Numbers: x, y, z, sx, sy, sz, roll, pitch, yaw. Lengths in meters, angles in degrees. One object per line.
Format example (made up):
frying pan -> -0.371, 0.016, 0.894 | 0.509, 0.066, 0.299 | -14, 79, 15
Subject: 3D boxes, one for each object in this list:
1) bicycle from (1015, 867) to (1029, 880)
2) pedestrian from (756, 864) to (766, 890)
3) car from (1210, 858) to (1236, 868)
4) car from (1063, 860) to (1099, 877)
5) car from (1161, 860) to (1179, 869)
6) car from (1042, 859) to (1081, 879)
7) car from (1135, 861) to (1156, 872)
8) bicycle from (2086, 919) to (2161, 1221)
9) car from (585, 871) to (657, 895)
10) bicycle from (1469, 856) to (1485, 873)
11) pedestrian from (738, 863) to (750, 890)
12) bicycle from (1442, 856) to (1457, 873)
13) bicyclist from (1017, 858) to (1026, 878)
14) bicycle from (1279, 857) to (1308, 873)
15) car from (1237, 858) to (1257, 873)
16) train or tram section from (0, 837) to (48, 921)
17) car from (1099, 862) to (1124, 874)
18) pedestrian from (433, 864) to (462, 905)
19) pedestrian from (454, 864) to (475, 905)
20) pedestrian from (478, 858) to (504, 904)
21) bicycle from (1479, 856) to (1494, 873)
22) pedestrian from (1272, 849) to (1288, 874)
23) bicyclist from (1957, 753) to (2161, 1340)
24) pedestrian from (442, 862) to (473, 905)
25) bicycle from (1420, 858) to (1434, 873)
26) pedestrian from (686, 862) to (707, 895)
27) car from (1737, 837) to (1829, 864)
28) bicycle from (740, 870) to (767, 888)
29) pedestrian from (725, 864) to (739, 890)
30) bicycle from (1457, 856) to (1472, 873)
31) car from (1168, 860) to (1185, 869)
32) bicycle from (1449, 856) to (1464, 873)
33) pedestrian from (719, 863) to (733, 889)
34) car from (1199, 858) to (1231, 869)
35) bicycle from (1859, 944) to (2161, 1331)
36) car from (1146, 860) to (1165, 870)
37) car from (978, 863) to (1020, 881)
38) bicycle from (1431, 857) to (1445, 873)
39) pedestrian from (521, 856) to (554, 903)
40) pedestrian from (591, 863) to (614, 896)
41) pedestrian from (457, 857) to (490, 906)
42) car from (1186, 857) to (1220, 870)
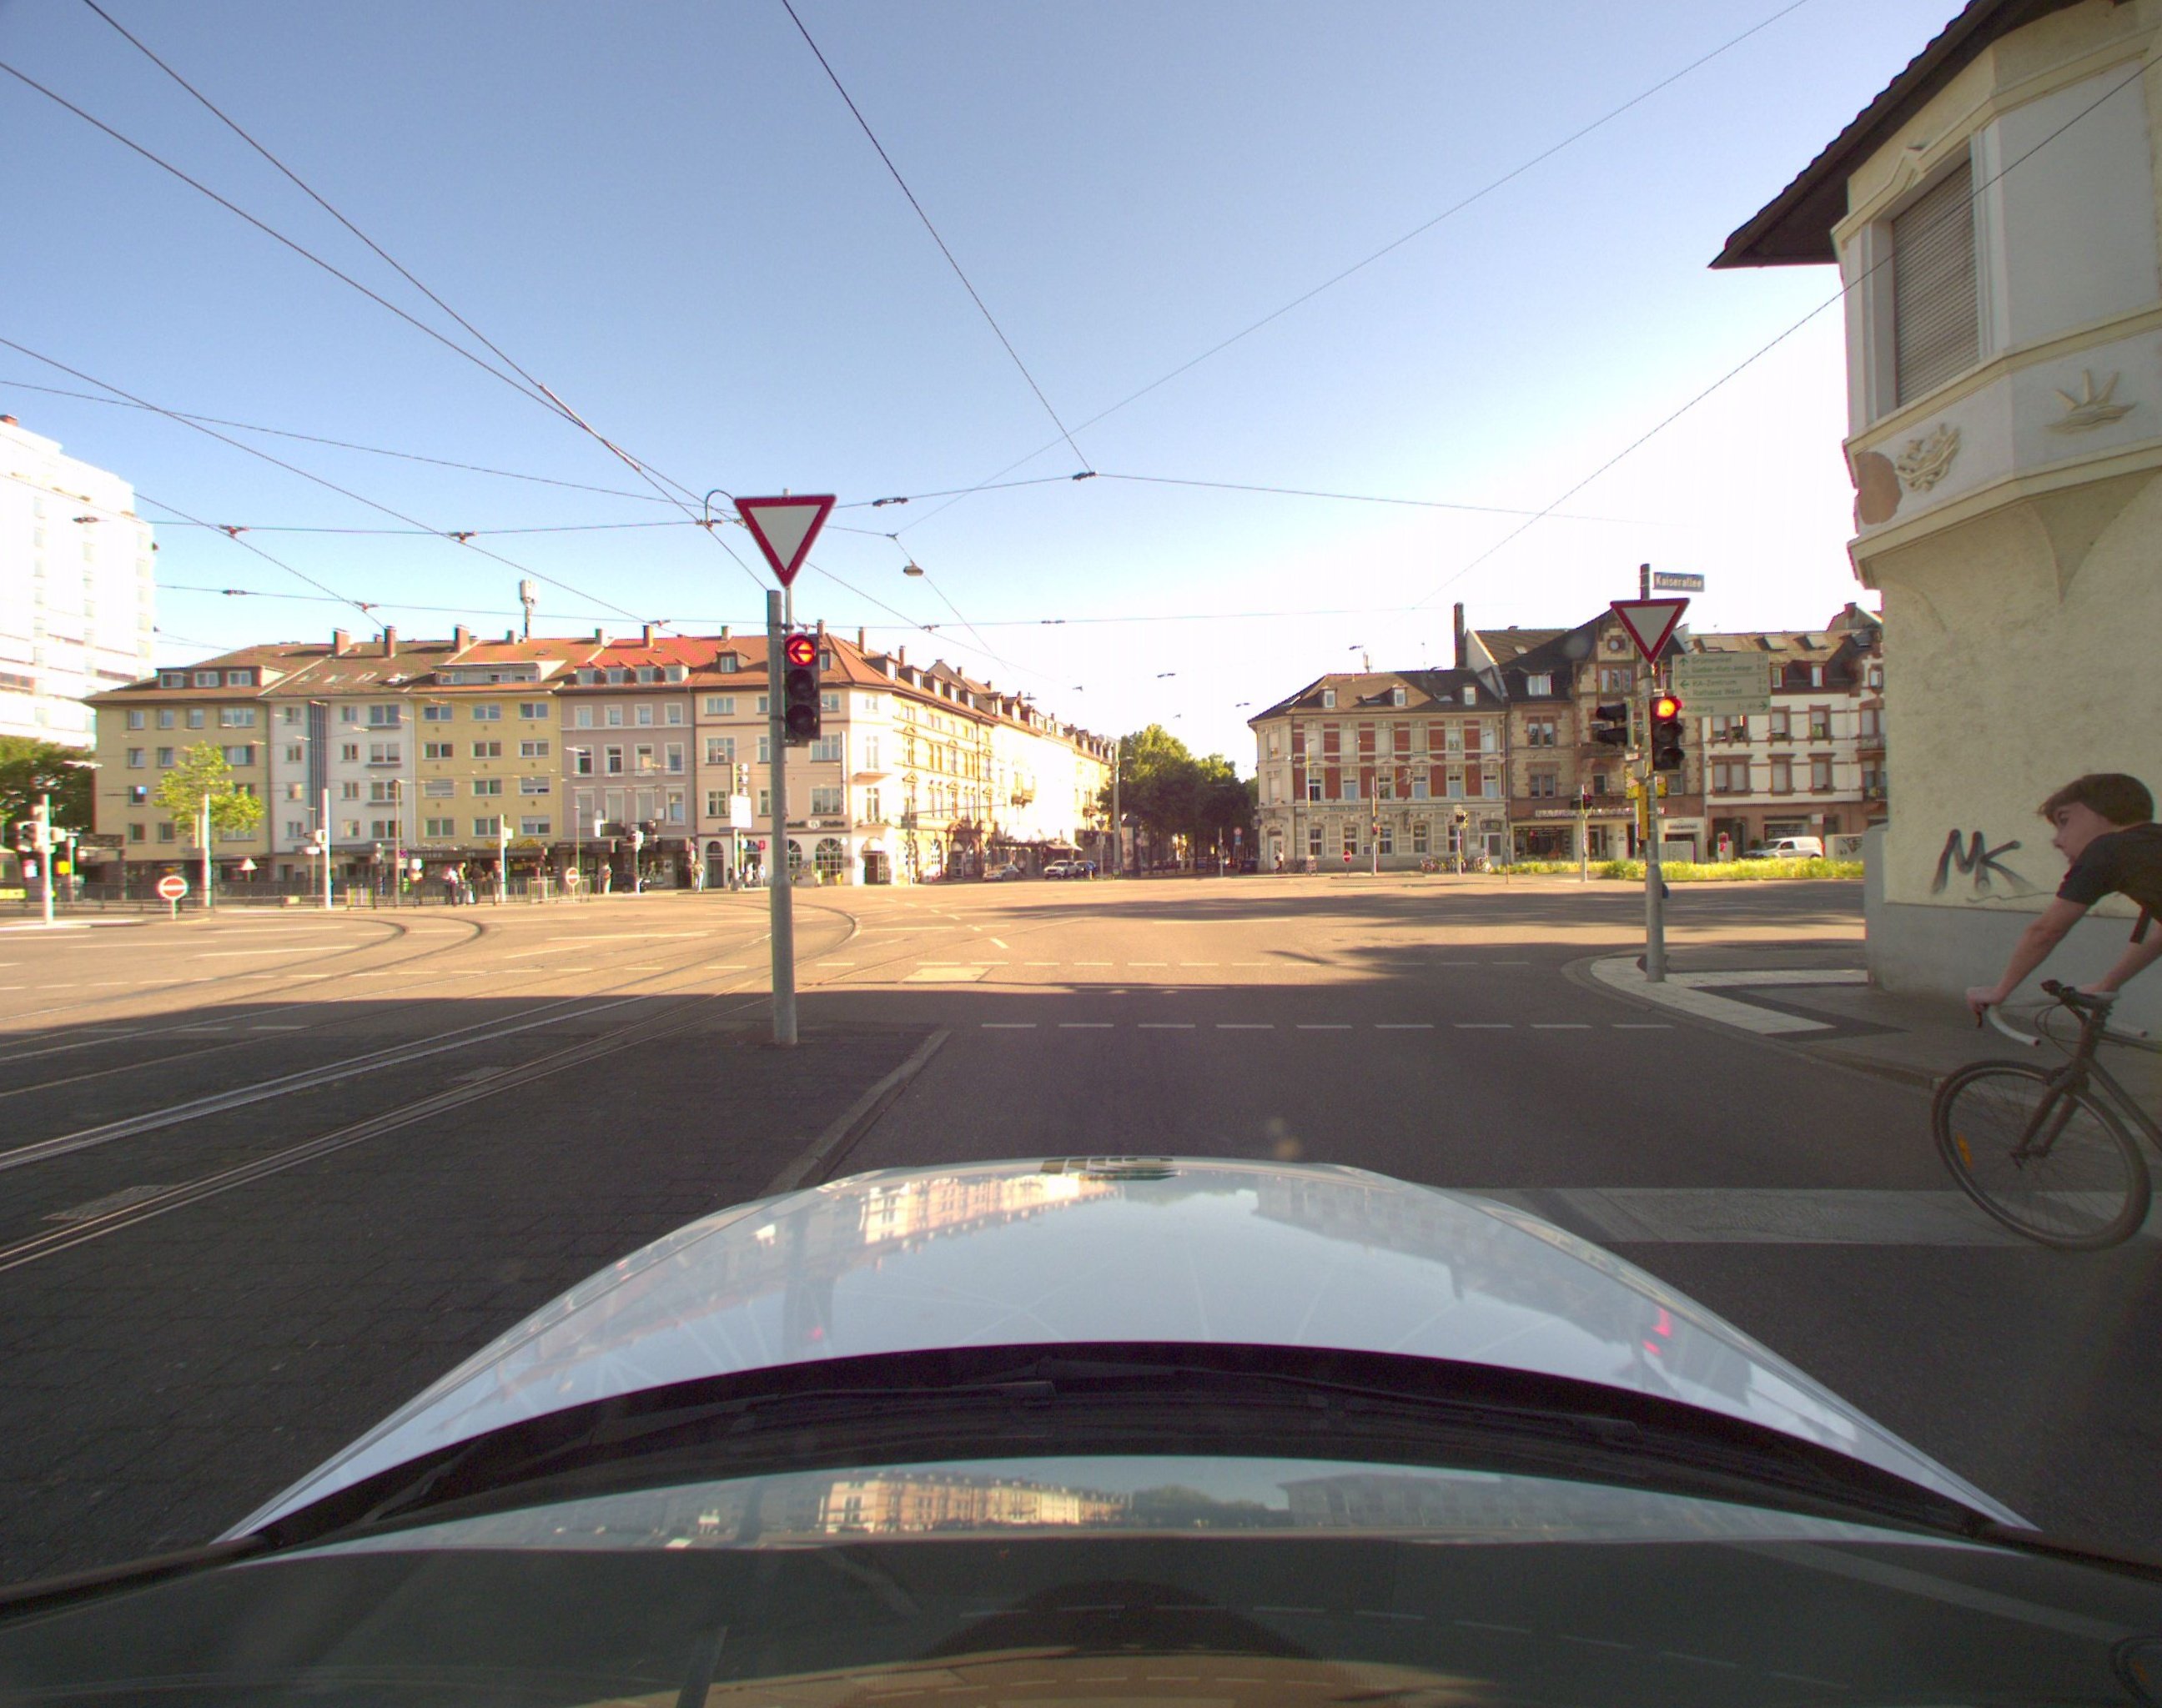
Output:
bicycle -> -4.757, 1.535, 65.565 | 0.650, 1.000, 1.671 | -1, -1, 14
pedestrian -> -15.807, 1.137, 40.260 | 0.364, 1.253, 0.449 | -1, 0, -10
car -> 19.385, 1.218, 111.187 | 3.409, 1.239, 1.582 | -1, 0, 13
car -> 0.036, 1.315, 73.803 | 1.977, 1.404, 4.189 | -1, 0, 18
car -> 14.334, 1.715, 131.257 | 1.977, 1.404, 4.189 | -1, 0, 18
car -> -1.584, 1.221, 67.666 | 1.977, 1.516, 4.189 | -1, 0, 18
car -> 9.250, 1.819, 116.820 | 1.977, 1.404, 4.189 | -1, 0, 18
bicycle -> 4.510, 0.857, 2.485 | 0.568, 1.165, 1.890 | -1, 0, 2
car -> -30.265, 1.906, 53.692 | 3.711, 1.491, 1.820 | 0, -1, 4
bicycle -> 25.634, 0.671, 52.760 | 0.483, 1.020, 1.789 | -1, 0, 12
pedestrian -> -21.841, 1.446, 52.830 | 0.628, 1.682, 0.738 | -1, 0, -18
bicycle -> 23.860, 0.684, 52.753 | 0.483, 1.020, 1.789 | -1, 0, 12
bicyclist -> -4.763, 1.097, 65.467 | 0.486, 1.601, 0.668 | -1, 0, 12
bicycle -> 14.918, 0.751, 57.137 | 1.940, 1.054, 0.717 | -1, 0, 11
car -> 16.805, 1.134, 82.290 | 1.742, 1.420, 4.016 | -1, 0, 14
train or tram section -> -56.274, 1.222, 38.258 | 11.609, 3.934, 2.960 | 0, -1, 0
car -> 3.837, 1.717, 102.172 | 1.977, 1.404, 4.189 | -1, 0, 18
pedestrian -> -25.323, 1.204, 32.549 | 0.696, 1.581, 0.560 | -1, 0, 1
pedestrian -> -23.779, 1.170, 31.429 | 0.426, 1.551, 0.453 | -1, 0, 1
pedestrian -> -23.270, 1.054, 32.136 | 0.558, 1.786, 0.560 | -1, 0, 1
bicycle -> 26.339, 0.667, 52.916 | 0.483, 1.020, 1.789 | -1, 0, 12
pedestrian -> 13.748, 0.491, 56.369 | 1.029, 1.712, 0.631 | -1, -1, 11
bicyclist -> 3.565, 0.576, 2.497 | 0.649, 1.767, 0.995 | -1, 0, 2
pedestrian -> -24.358, 1.152, 31.812 | 0.738, 1.635, 0.572 | -1, 0, 1
bicycle -> 22.488, 0.732, 52.975 | 0.483, 0.914, 1.789 | -1, 0, 12
pedestrian -> -19.952, 1.274, 42.227 | 0.738, 1.682, 0.628 | -1, 0, 1
car -> 45.297, -0.246, 52.599 | 4.239, 1.622, 1.999 | -1, 0, -1
bicycle -> -23.235, 1.764, 57.715 | 1.714, 1.276, 0.385 | -1, 0, -16
pedestrian -> -23.656, 1.558, 55.196 | 0.740, 1.682, 0.626 | -1, 0, -10
bicycle -> 24.823, 0.676, 52.712 | 0.483, 1.020, 1.789 | -1, 0, 12
car -> 16.034, 1.744, 136.416 | 1.977, 1.404, 4.189 | -1, 0, 18
bicycle -> 24.320, 0.681, 52.803 | 0.483, 1.020, 1.789 | -1, 0, 12
pedestrian -> -23.069, 1.413, 52.928 | 0.744, 1.682, 0.623 | -1, 0, -23
car -> 17.340, 1.229, 105.159 | 3.959, 1.288, 1.700 | -1, 0, 13
bicycle -> 3.566, 0.918, 2.499 | 0.568, 1.058, 1.890 | -1, 0, 2
car -> 11.204, 1.695, 122.498 | 1.977, 1.404, 4.189 | -1, 0, 18
car -> -6.753, 1.481, 67.360 | 1.977, 1.361, 3.836 | -1, 0, 18
bicycle -> 23.164, 0.722, 52.872 | 0.483, 1.020, 1.789 | -1, 0, 12
pedestrian -> -21.600, 1.022, 32.378 | 0.764, 1.829, 0.723 | -1, 0, 1
pedestrian -> -24.899, 1.311, 42.376 | 0.764, 1.682, 0.628 | -1, 0, 1
pedestrian -> -23.229, 1.046, 31.159 | 0.625, 1.850, 0.778 | -1, 0, 1
car -> 14.967, 1.159, 99.504 | 3.959, 1.454, 1.687 | -1, 0, 13
